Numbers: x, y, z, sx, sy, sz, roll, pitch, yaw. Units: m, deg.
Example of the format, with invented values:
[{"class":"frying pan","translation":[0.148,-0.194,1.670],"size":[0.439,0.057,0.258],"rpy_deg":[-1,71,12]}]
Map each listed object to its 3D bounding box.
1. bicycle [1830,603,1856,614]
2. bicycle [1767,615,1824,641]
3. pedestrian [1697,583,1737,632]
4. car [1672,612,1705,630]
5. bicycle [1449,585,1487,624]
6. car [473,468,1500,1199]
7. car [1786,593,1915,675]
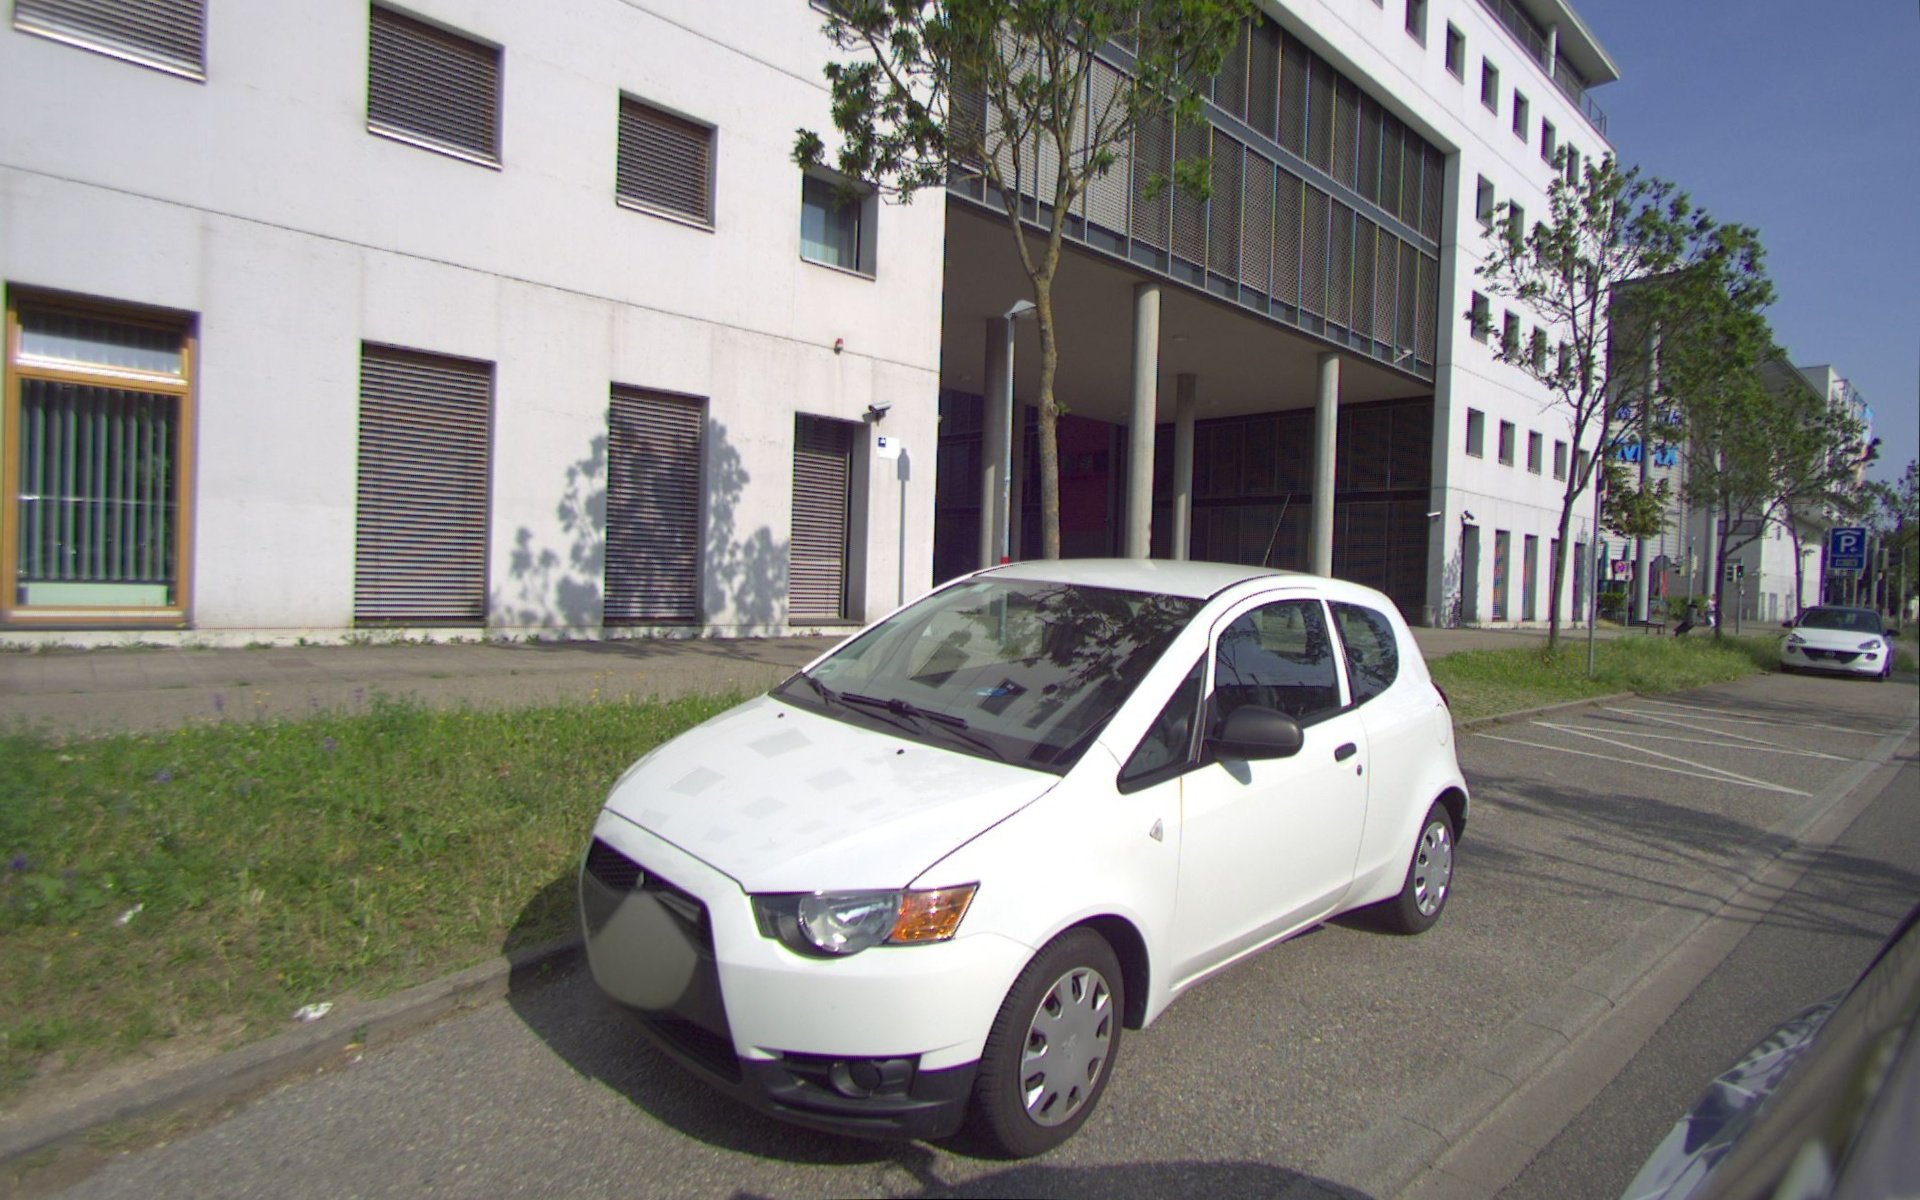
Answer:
[{"class":"bicycle","translation":[80.518,0.759,92.273],"size":[0.474,0.926,1.660],"rpy_deg":[1,2,-41]},{"class":"bicycle","translation":[27.409,0.915,33.205],"size":[0.511,0.639,1.277],"rpy_deg":[1,8,-35]},{"class":"pedestrian","translation":[26.146,0.262,34.962],"size":[0.698,1.635,0.781],"rpy_deg":[2,1,-15]},{"class":"car","translation":[25.658,0.738,35.648],"size":[0.488,0.595,0.770],"rpy_deg":[2,2,-15]},{"class":"bicycle","translation":[14.905,0.136,29.693],"size":[0.494,1.099,1.525],"rpy_deg":[5,3,44]},{"class":"car","translation":[0.461,0.523,3.820],"size":[3.787,1.545,1.690],"rpy_deg":[1,1,-44]},{"class":"car","translation":[19.082,0.683,21.636],"size":[3.717,1.538,1.722],"rpy_deg":[1,1,-43]}]
